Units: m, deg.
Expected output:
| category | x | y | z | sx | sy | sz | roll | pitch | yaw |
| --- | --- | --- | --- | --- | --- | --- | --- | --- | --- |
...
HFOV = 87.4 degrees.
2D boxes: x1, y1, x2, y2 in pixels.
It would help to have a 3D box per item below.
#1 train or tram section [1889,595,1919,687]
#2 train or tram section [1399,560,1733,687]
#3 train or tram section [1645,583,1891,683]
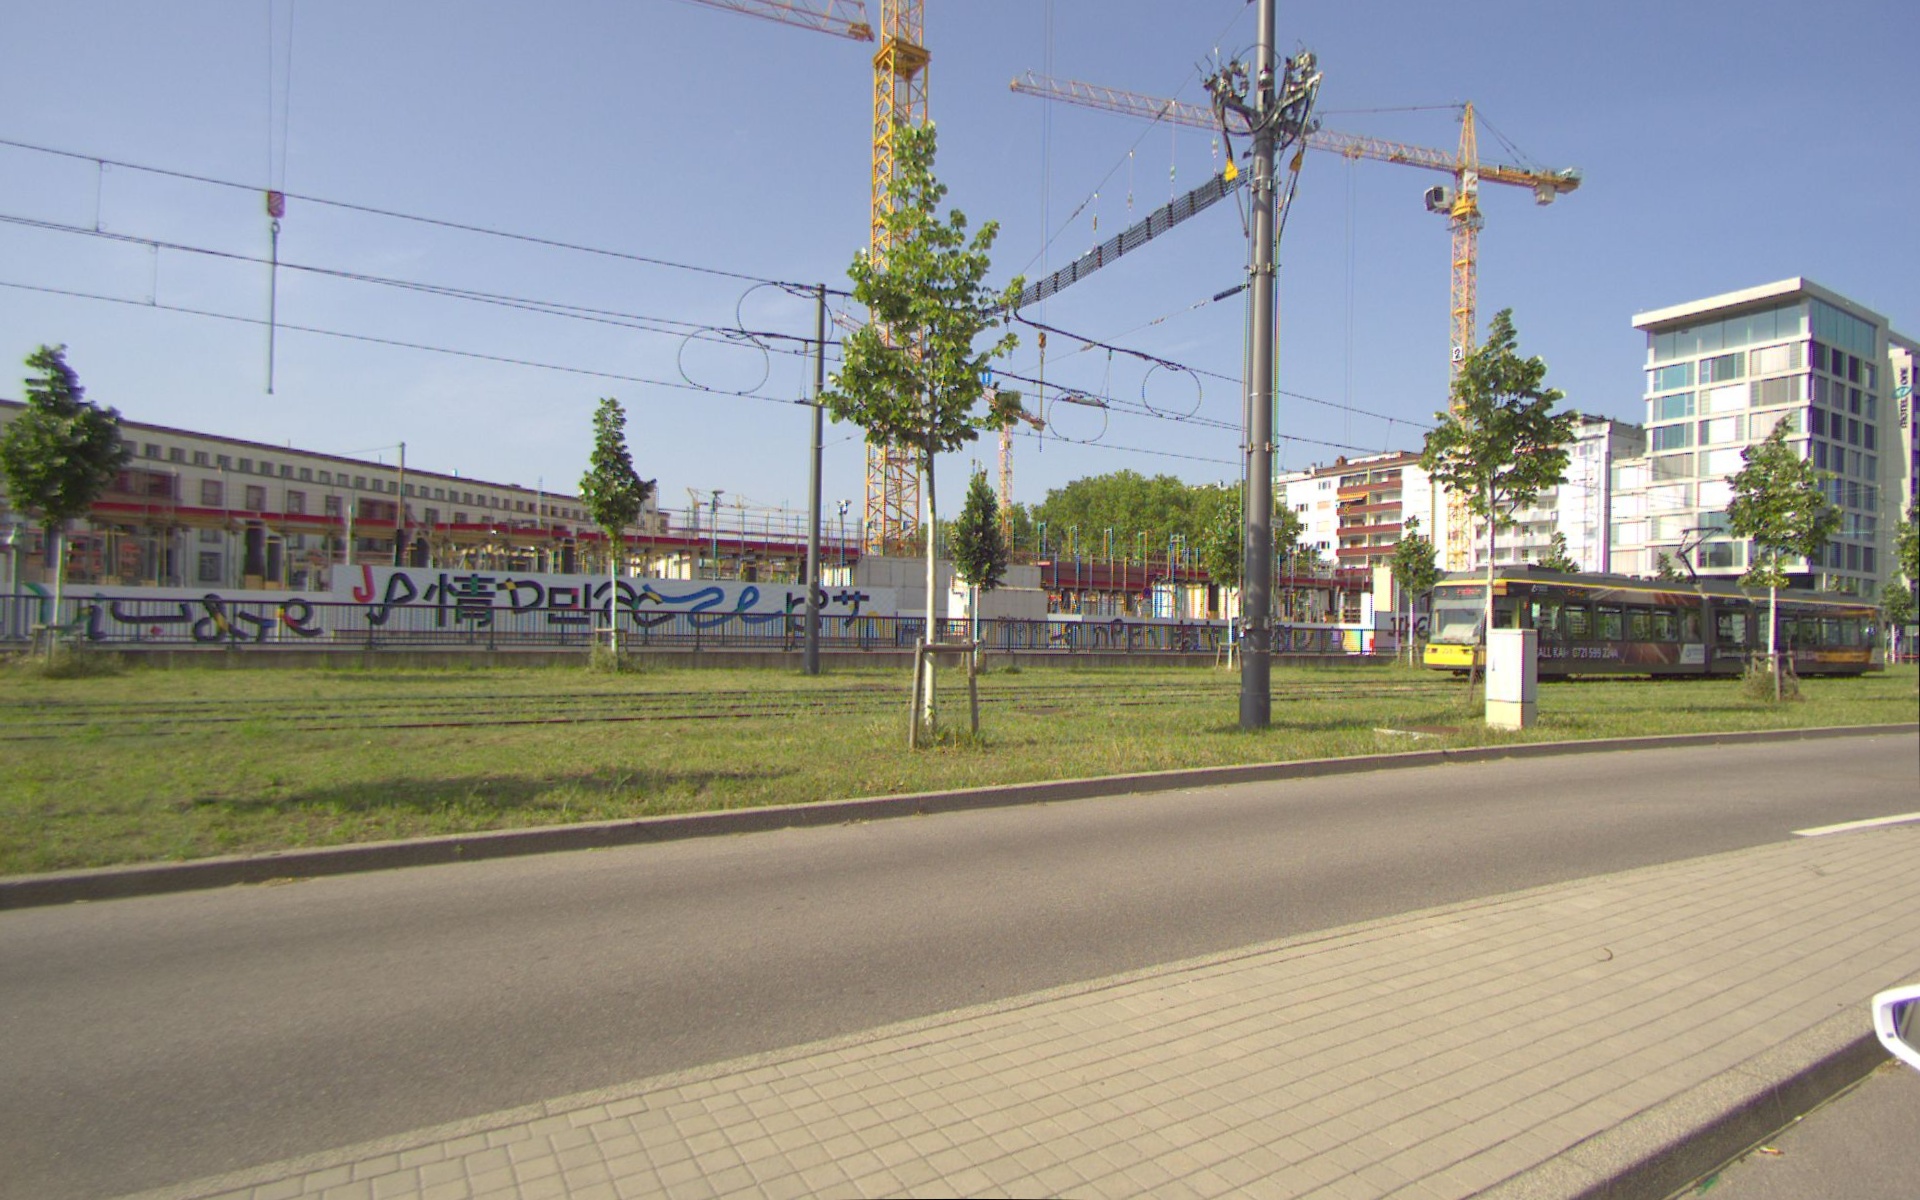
| category | x | y | z | sx | sy | sz | roll | pitch | yaw |
| --- | --- | --- | --- | --- | --- | --- | --- | --- | --- |
| train or tram section | 47.325 | 2.088 | 44.824 | 17.912 | 3.725 | 2.894 | 3 | 0 | -28 |
| train or tram section | 20.500 | 0.934 | 33.271 | 14.726 | 3.583 | 2.846 | 2 | -1 | -31 |
| train or tram section | 32.709 | 1.424 | 40.350 | 13.444 | 3.583 | 2.869 | 2 | -1 | -29 |
